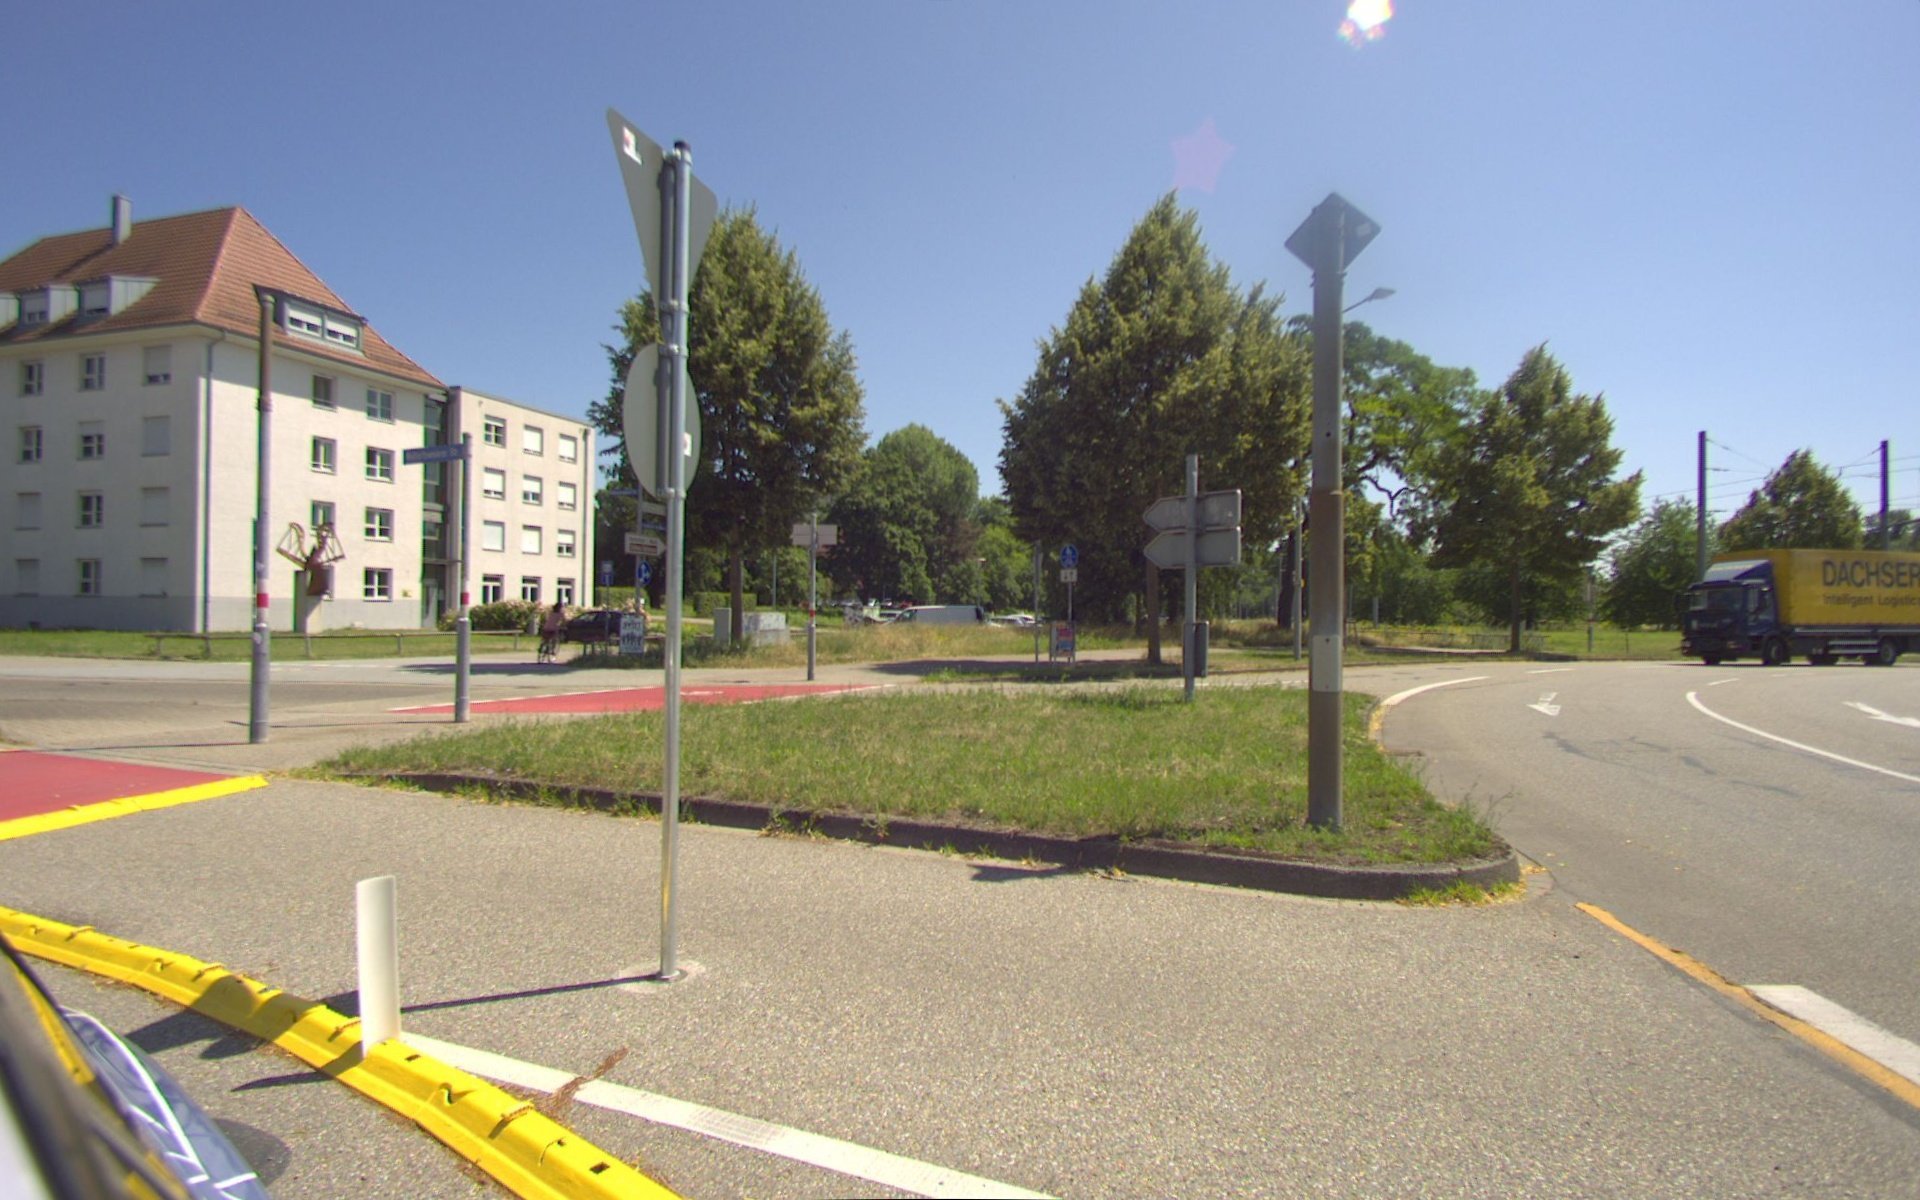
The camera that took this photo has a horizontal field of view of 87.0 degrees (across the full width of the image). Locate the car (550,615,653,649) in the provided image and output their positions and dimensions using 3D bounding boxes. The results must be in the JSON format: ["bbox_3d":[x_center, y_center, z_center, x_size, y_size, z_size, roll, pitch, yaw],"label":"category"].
[{"bbox_3d":[-14.708,1.281,41.515,3.777,1.337,1.649,0,-1,19],"label":"car"}]

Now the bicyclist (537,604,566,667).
[{"bbox_3d":[-11.097,0.957,27.501,0.635,1.677,0.712,1,-2,-15],"label":"bicyclist"}]

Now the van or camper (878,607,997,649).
[{"bbox_3d":[-1.048,1.290,47.386,5.229,1.871,1.988,0,-1,18],"label":"van or camper"}]

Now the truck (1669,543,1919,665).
[{"bbox_3d":[28.222,0.186,32.849,9.457,3.686,2.714,1,-1,-12],"label":"truck"}]

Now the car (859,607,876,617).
[{"bbox_3d":[-12.760,1.642,139.863,1.464,1.427,3.015,0,-1,13],"label":"car"}]

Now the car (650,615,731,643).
[{"bbox_3d":[-12.576,1.328,47.195,3.486,1.227,1.348,0,-1,19],"label":"car"}]

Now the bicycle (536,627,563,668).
[{"bbox_3d":[-11.021,1.258,27.213,0.432,1.066,2.094,0,-1,-16],"label":"bicycle"}]

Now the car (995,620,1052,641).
[{"bbox_3d":[3.991,1.916,63.606,3.364,1.291,1.345,0,-1,26],"label":"car"}]

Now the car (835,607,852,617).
[{"bbox_3d":[-16.076,1.624,139.589,1.464,1.427,3.015,0,-1,13],"label":"car"}]

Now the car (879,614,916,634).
[{"bbox_3d":[-4.558,1.748,73.861,2.514,1.368,1.074,0,-1,25],"label":"car"}]
